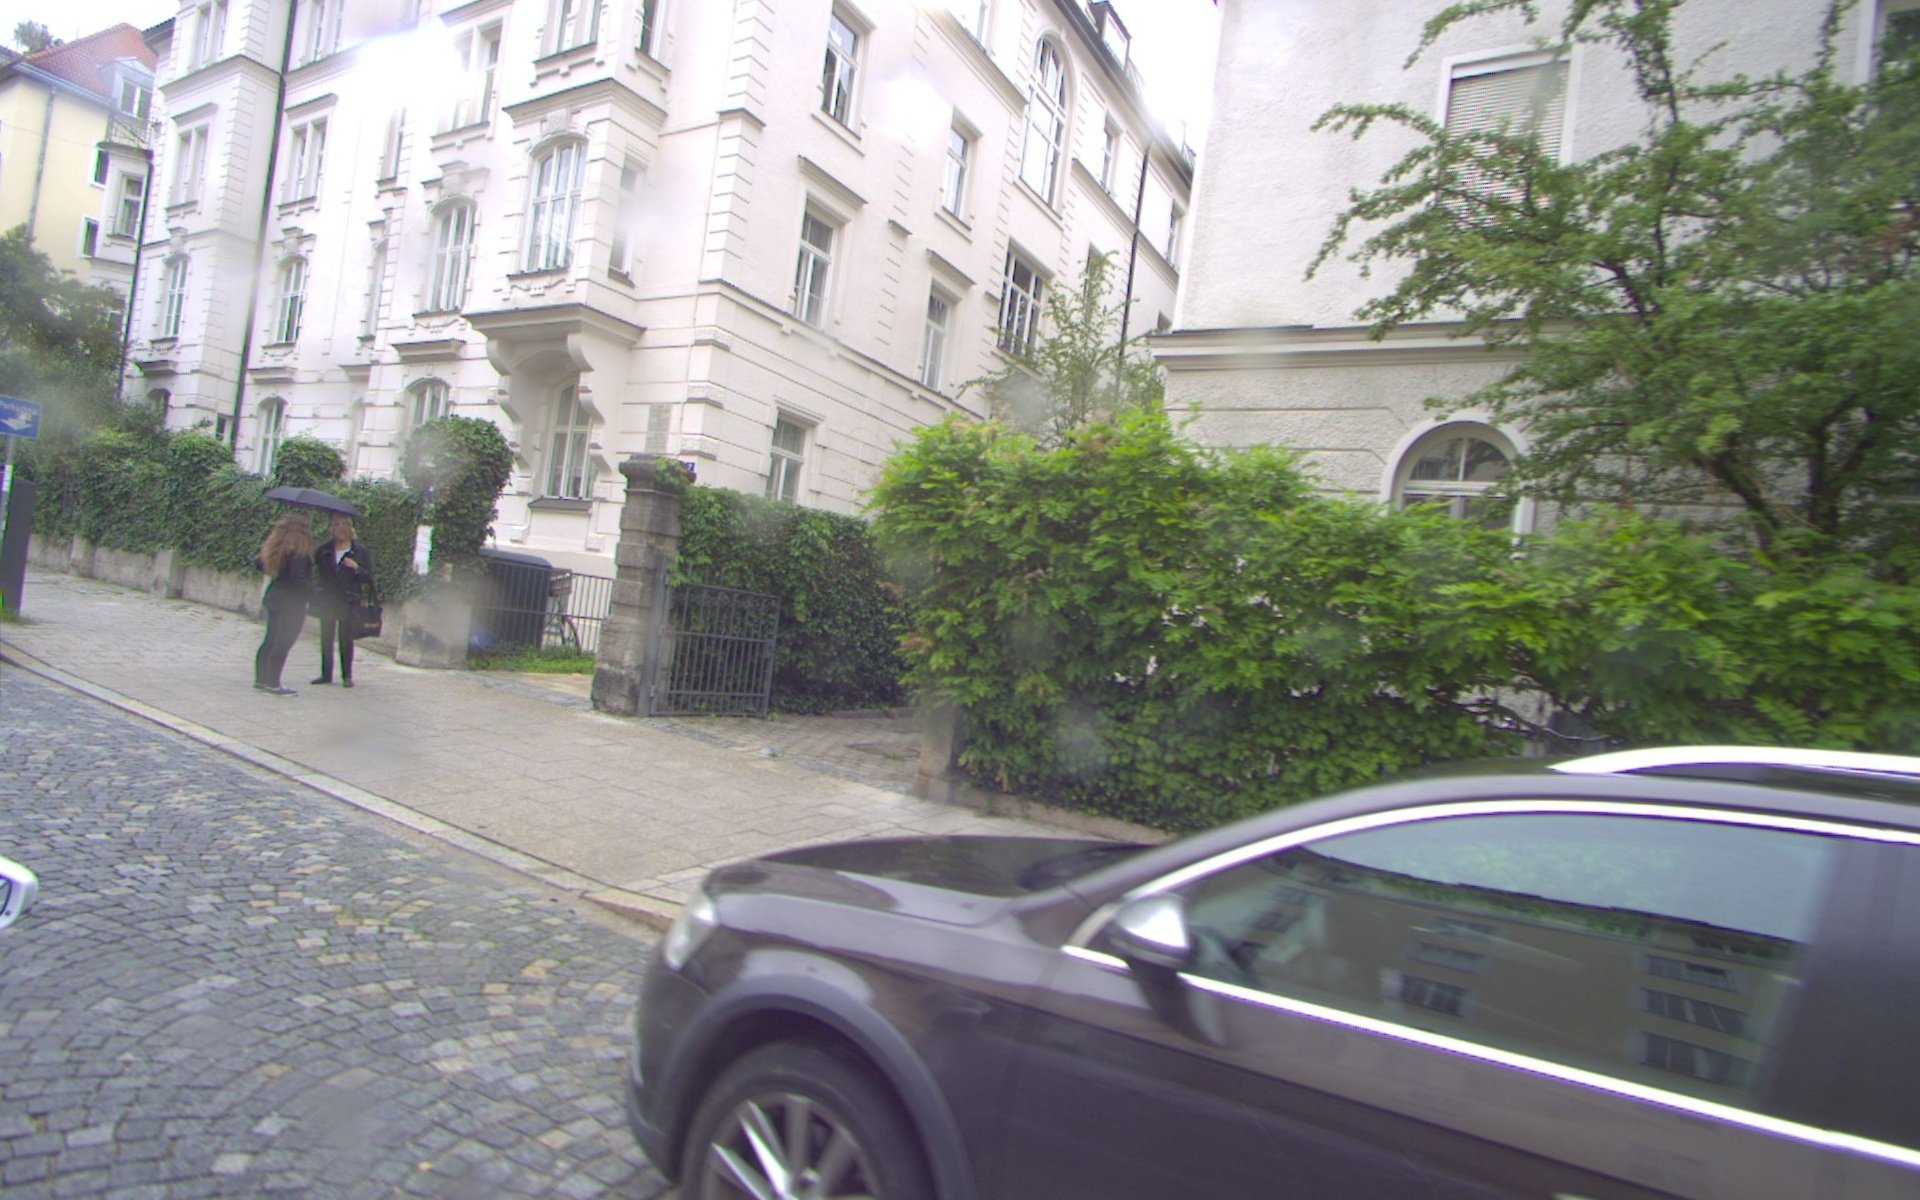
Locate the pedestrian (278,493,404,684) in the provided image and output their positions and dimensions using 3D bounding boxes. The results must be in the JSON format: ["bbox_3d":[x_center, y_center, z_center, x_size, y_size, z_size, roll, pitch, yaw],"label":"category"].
[{"bbox_3d":[-6.337,-0.101,10.328,0.647,1.829,0.631,7,-1,9],"label":"pedestrian"}]

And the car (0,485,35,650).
[{"bbox_3d":[-10.593,-0.559,9.537,3.599,1.485,1.635,7,-4,32],"label":"car"}]

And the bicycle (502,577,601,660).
[{"bbox_3d":[-6.120,0.277,15.049,1.460,1.054,0.394,7,-1,26],"label":"bicycle"}]

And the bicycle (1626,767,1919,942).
[{"bbox_3d":[6.001,1.778,6.961,2.238,0.821,0.492,6,-2,37],"label":"bicycle"}]

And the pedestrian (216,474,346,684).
[{"bbox_3d":[-6.403,-0.187,9.505,0.669,1.873,0.577,7,1,21],"label":"pedestrian"}]

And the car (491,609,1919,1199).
[{"bbox_3d":[1.347,1.078,1.923,4.555,1.436,1.654,7,-5,31],"label":"car"}]
